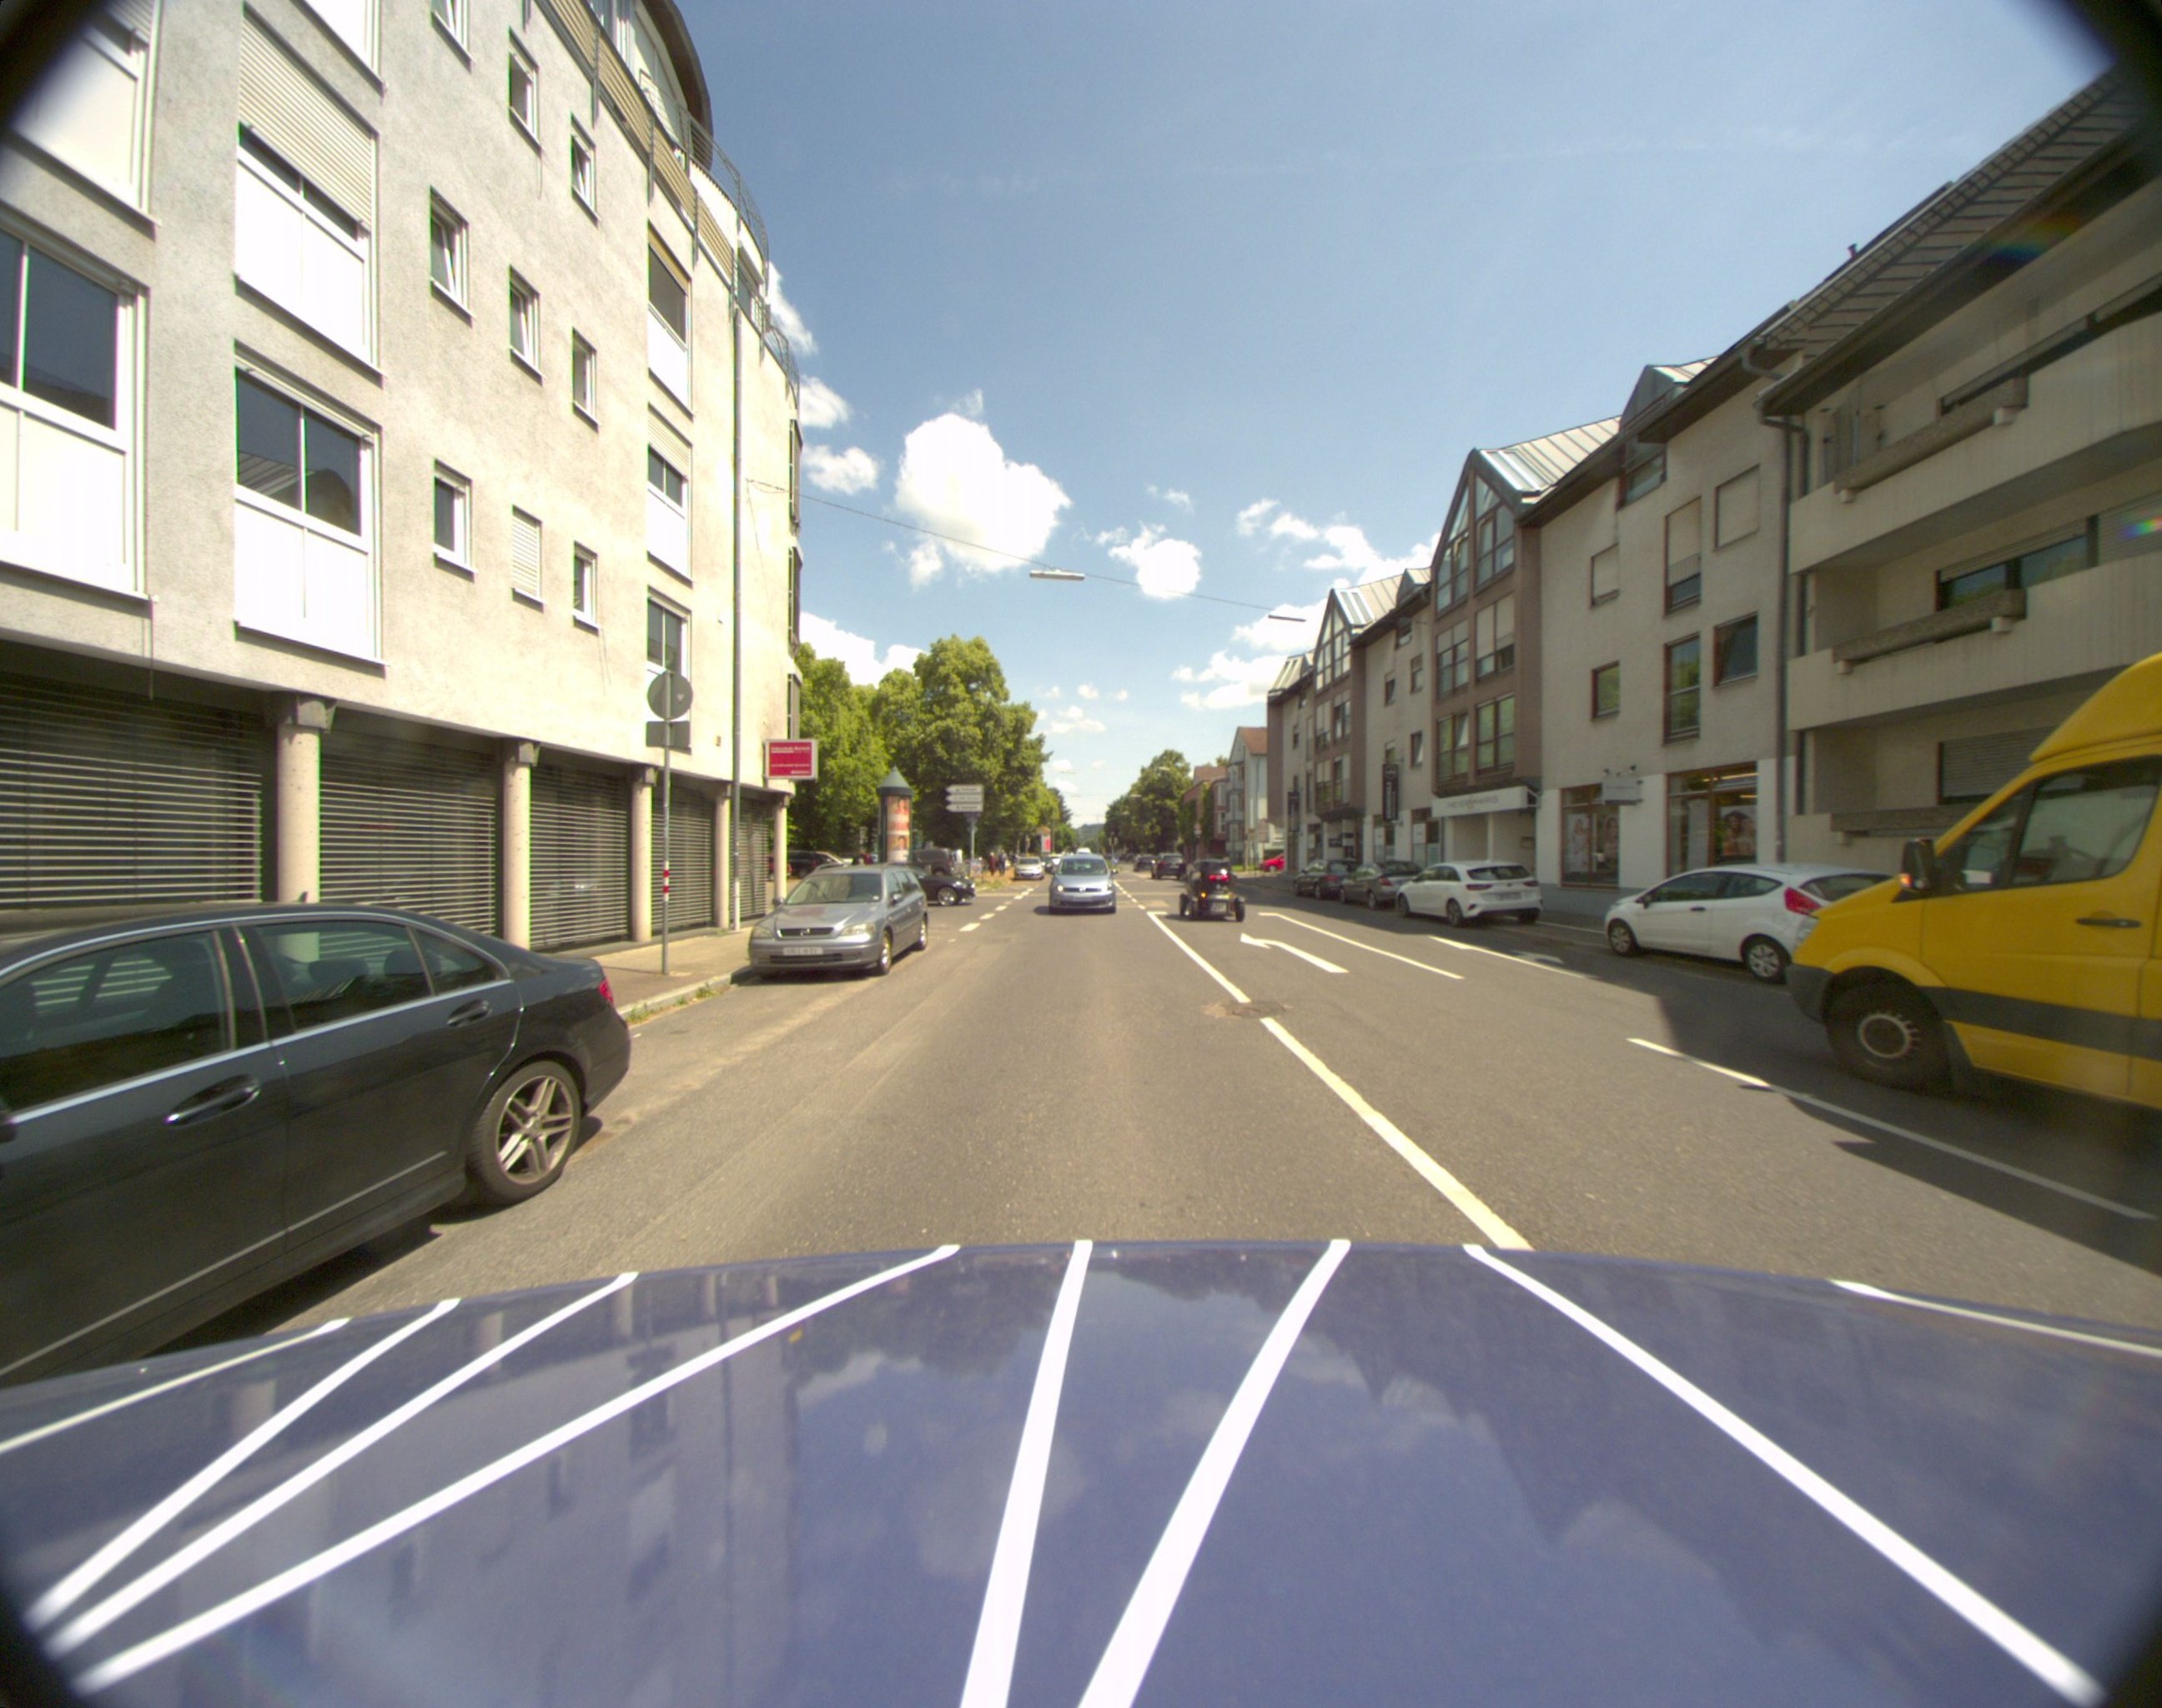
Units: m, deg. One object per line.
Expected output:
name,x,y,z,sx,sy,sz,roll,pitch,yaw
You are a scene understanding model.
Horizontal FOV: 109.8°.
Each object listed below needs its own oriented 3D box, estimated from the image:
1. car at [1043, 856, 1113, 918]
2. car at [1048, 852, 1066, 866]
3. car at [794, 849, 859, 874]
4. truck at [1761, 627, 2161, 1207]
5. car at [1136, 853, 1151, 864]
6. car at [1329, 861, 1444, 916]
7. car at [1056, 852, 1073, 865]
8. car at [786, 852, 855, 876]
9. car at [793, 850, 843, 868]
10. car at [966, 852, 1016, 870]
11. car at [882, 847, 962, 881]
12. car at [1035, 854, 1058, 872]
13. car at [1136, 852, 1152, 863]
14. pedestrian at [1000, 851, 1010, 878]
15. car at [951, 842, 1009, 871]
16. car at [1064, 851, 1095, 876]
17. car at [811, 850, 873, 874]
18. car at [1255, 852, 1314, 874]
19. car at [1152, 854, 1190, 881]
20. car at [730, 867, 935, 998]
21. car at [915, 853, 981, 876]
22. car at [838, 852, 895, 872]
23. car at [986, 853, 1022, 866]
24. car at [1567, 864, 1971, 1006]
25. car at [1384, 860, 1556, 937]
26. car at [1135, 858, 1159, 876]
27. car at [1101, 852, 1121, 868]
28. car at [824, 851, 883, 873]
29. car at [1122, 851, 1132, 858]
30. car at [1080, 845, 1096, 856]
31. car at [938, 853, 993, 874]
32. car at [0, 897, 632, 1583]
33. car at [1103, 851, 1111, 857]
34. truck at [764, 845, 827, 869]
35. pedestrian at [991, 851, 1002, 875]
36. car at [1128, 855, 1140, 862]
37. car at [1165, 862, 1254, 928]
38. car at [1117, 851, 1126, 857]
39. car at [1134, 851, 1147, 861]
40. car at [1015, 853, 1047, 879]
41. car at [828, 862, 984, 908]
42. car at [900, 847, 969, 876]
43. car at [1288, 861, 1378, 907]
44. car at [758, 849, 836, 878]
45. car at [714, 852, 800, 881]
car,-0.053,0.836,21.183,1.747,1.513,4.223,0,0,0
car,-2.630,0.527,83.617,1.721,1.434,4.111,-1,0,2
car,-17.785,0.530,53.274,3.998,1.631,1.680,1,1,-2
truck,6.194,0.329,1.954,2.231,2.755,7.564,2,0,2
car,9.296,0.650,113.507,1.752,1.499,3.999,-1,0,-1
car,9.319,0.996,23.577,1.844,1.376,4.326,-2,1,1
car,-1.998,0.545,91.067,1.867,1.516,4.208,-1,0,1
car,-17.303,0.643,50.640,3.998,1.475,1.680,1,1,-2
car,-23.323,0.430,67.571,3.806,1.579,1.738,1,1,3
car,-8.263,0.599,69.827,4.336,1.485,1.808,-2,1,-1
car,-8.692,0.525,41.801,3.997,1.740,2.016,-1,1,0
car,-2.780,0.717,61.780,1.667,1.420,4.000,0,0,1
car,8.861,0.471,106.986,1.752,1.434,3.999,-1,0,-1
pedestrian,-5.035,0.671,50.307,0.618,1.754,0.737,-1,1,0
car,-8.743,0.209,66.158,4.614,2.263,2.106,-2,1,1
car,-0.068,0.661,54.965,1.998,1.652,4.626,1,0,3
car,-17.532,0.571,55.849,3.996,1.652,1.804,1,1,2
car,15.752,0.676,58.827,3.997,1.443,1.733,-4,-1,-1
car,5.629,0.821,48.194,1.817,1.611,4.441,1,0,-1
car,-3.384,0.977,11.209,1.682,1.446,4.142,-2,0,-1
car,-8.614,0.661,49.432,3.997,1.390,1.807,-1,1,-1
car,-17.183,0.640,60.919,3.996,1.464,1.804,1,1,2
car,-8.511,0.587,83.553,3.849,1.350,1.628,-1,1,-8
car,9.320,0.963,10.936,1.844,1.480,4.386,-2,1,0
car,9.138,0.962,18.334,1.844,1.480,4.386,-2,1,0
car,5.739,1.114,66.753,1.747,1.411,4.223,2,0,1
car,2.944,0.603,74.512,1.867,1.516,4.292,-1,0,1
car,-17.527,0.603,58.603,3.996,1.577,1.804,1,1,2
car,9.509,0.120,158.689,1.757,1.325,3.607,-1,0,-1
car,0.940,-0.465,95.264,1.720,1.406,4.590,1,0,3
car,-9.069,0.727,59.961,3.996,1.464,1.717,-2,1,2
car,-3.395,0.982,1.990,1.716,1.464,4.438,0,0,2
car,6.332,0.058,188.310,1.752,1.499,3.999,-1,0,-1
truck,-22.058,0.241,58.770,4.130,1.804,1.879,0,1,2
pedestrian,-5.611,0.611,50.303,0.618,1.584,0.737,-1,1,0
car,9.512,0.791,136.450,1.757,1.325,3.607,-1,0,-1
car,3.026,0.927,18.351,1.501,1.450,2.721,0,0,-4
car,9.299,-0.038,174.537,1.757,1.325,3.607,-1,0,-1
car,9.306,0.336,118.667,1.572,1.499,3.999,-1,0,-1
car,-3.073,0.733,47.176,1.771,1.476,3.890,-1,1,0
car,-5.576,0.977,24.669,4.593,1.357,2.000,-1,0,-2
car,-8.512,0.439,44.447,3.774,1.657,1.663,0,1,-4
car,9.341,1.054,28.600,1.844,1.439,4.969,-2,1,2
car,-17.034,0.577,45.695,3.998,1.669,1.701,1,1,-3
car,-17.843,0.687,41.922,3.998,1.520,1.680,1,1,-2
